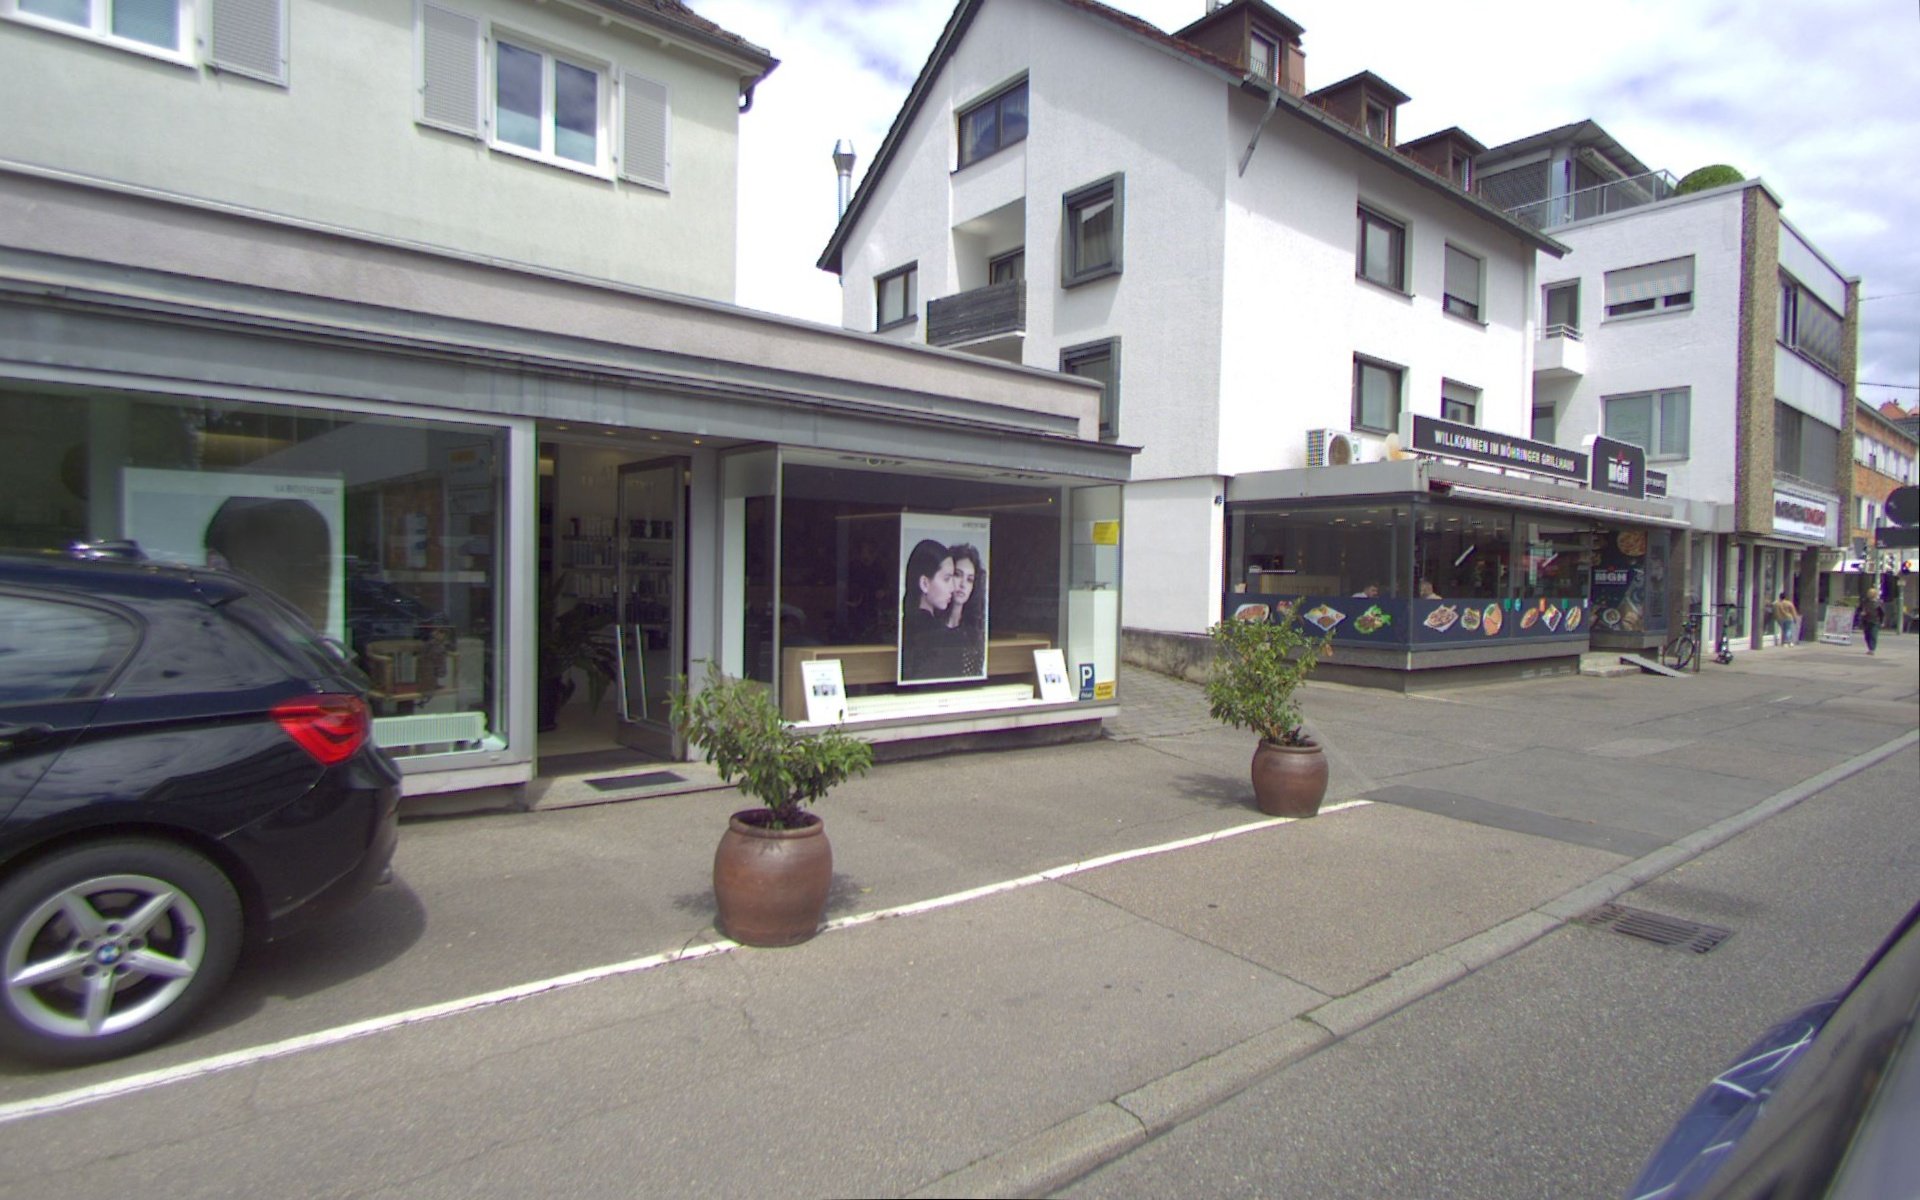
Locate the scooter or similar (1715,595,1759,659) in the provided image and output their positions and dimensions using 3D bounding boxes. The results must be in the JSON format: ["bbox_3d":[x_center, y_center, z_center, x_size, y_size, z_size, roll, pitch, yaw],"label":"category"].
[{"bbox_3d":[16.674,0.557,21.703,0.686,1.283,1.169,3,2,39],"label":"scooter or similar"}]

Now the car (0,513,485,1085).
[{"bbox_3d":[-3.894,0.470,2.625,4.456,1.465,1.972,0,2,-41],"label":"car"}]

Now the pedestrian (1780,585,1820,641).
[{"bbox_3d":[23.217,0.344,27.977,0.707,1.517,0.681,0,1,-39],"label":"pedestrian"}]

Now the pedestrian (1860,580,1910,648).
[{"bbox_3d":[23.923,0.340,26.167,0.793,1.691,0.797,1,2,-39],"label":"pedestrian"}]

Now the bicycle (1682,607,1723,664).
[{"bbox_3d":[14.652,0.686,19.959,0.474,1.040,1.611,3,2,41],"label":"bicycle"}]
